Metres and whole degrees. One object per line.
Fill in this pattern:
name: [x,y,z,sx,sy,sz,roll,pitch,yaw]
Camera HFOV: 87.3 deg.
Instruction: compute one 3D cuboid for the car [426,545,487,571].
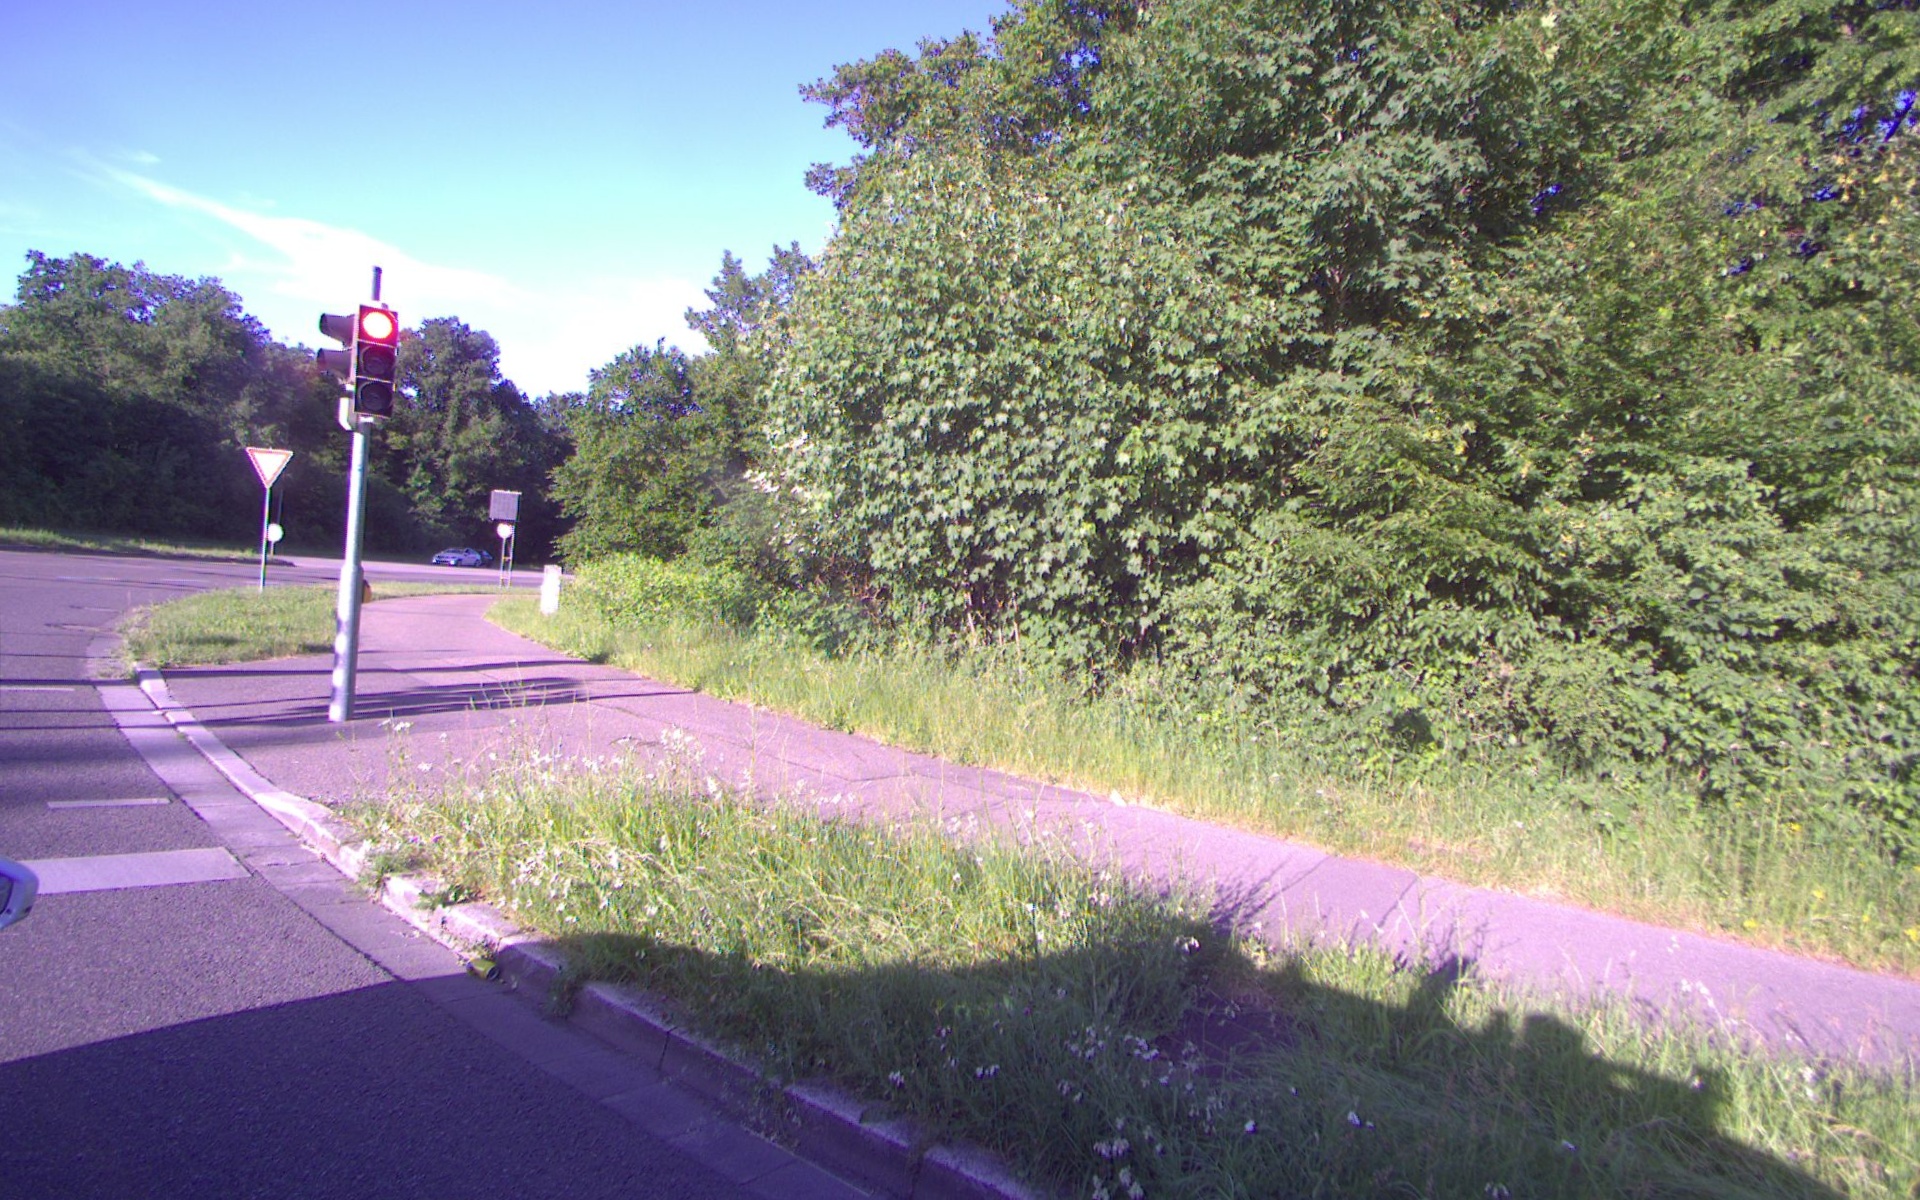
car: [-36.782,-3.039,73.640,1.963,1.454,4.806,6,0,0]
